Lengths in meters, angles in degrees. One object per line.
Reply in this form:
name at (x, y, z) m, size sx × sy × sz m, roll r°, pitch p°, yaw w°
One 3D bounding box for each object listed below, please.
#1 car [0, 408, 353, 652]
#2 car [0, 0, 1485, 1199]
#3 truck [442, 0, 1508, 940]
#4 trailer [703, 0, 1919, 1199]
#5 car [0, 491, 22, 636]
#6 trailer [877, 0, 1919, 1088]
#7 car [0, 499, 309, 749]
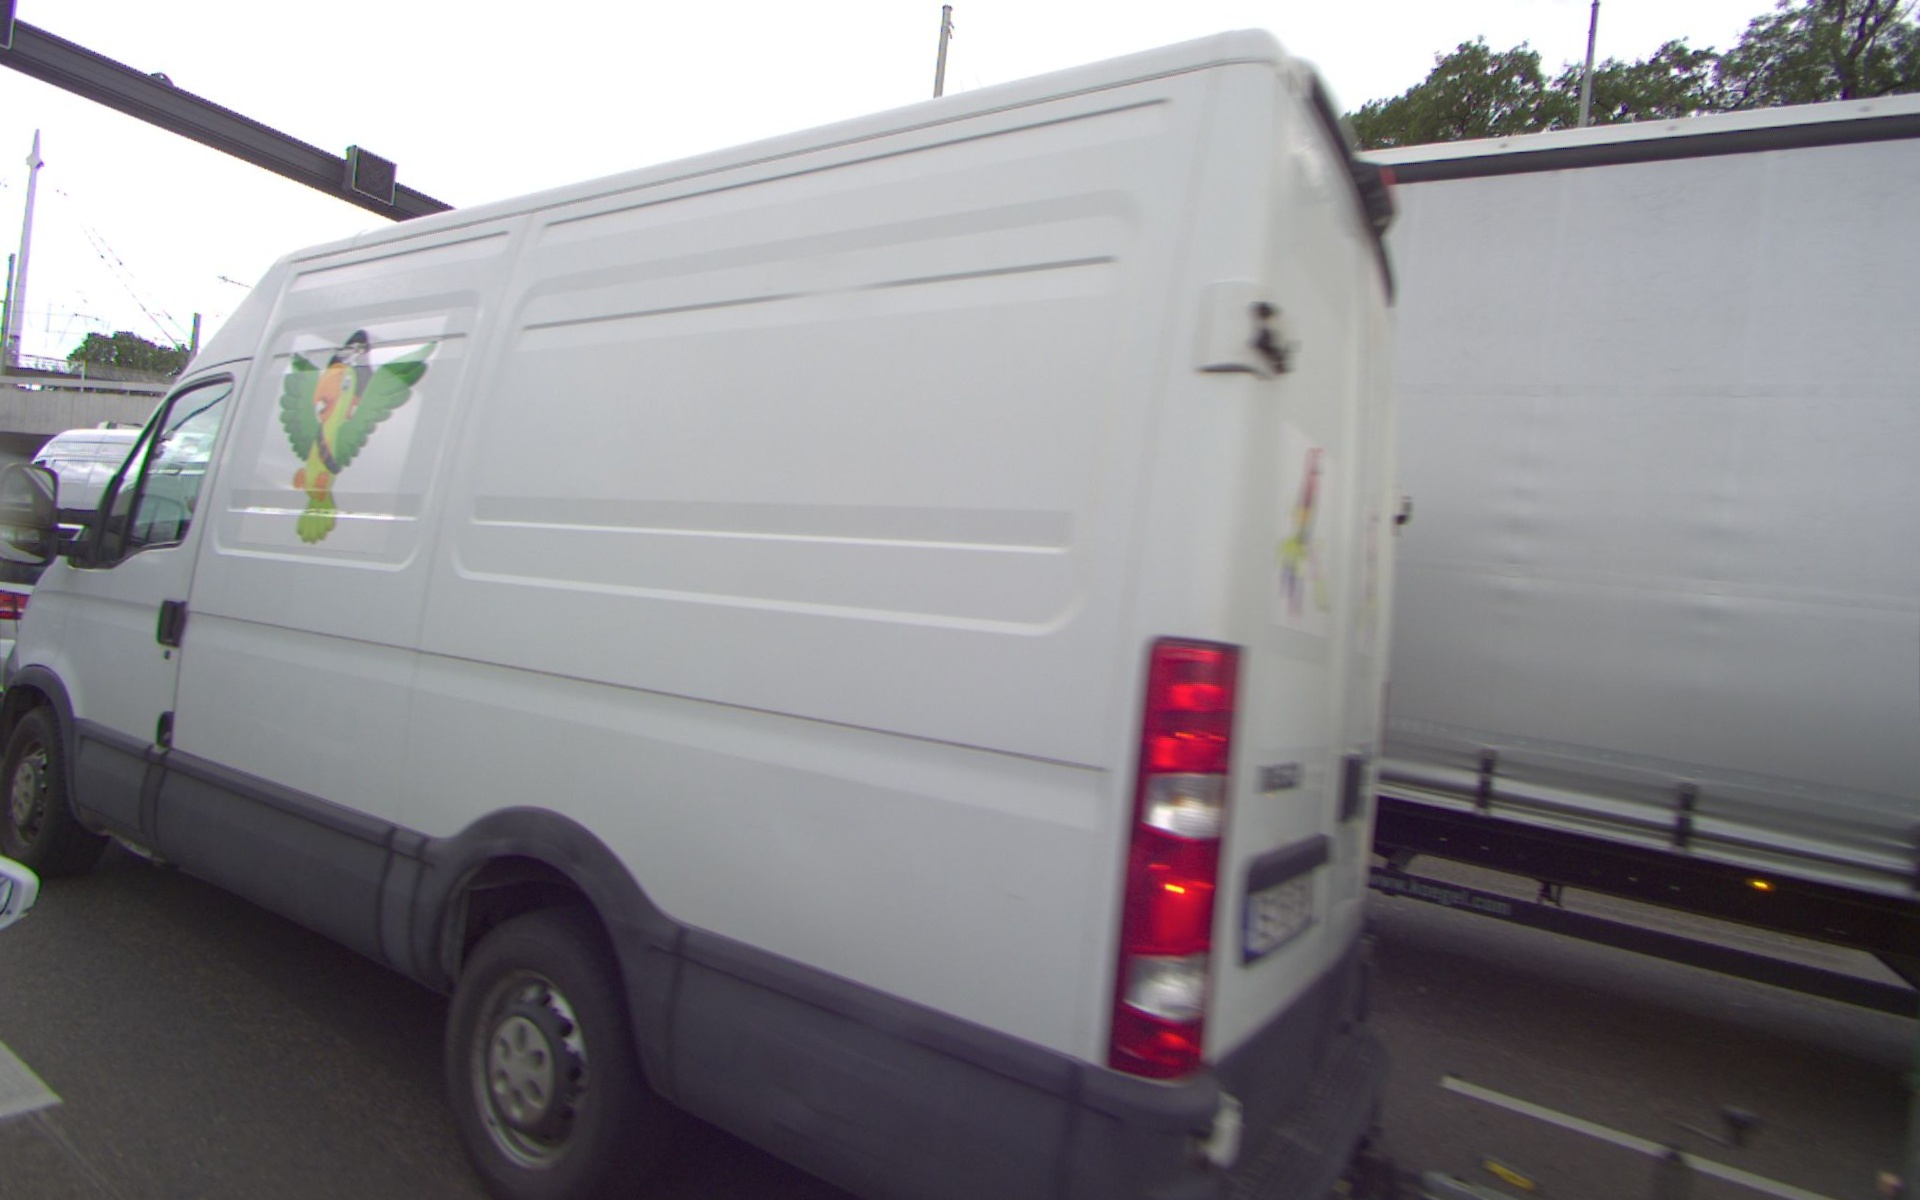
car at (-11.997, -1.135, 14.650) m, size 7.203 × 2.807 × 2.078 m, roll 7°, pitch 0°, yaw 31°
car at (-1.476, -0.139, 3.859) m, size 5.845 × 2.655 × 2.064 m, roll 6°, pitch -4°, yaw 33°
truck at (-0.007, -0.904, 8.224) m, size 7.318 × 4.685 × 3.813 m, roll 7°, pitch -2°, yaw 31°
trailer at (2.153, 0.395, 1.618) m, size 4.731 × 2.670 × 2.106 m, roll 6°, pitch -1°, yaw 32°
car at (-12.297, -0.662, 11.075) m, size 3.629 × 1.562 × 1.687 m, roll 7°, pitch -2°, yaw 28°
trailer at (5.798, -0.245, 4.617) m, size 11.912 × 4.685 × 3.813 m, roll 7°, pitch -2°, yaw 31°
car at (-6.703, 0.032, 7.254) m, size 3.972 × 1.400 × 1.766 m, roll 6°, pitch -1°, yaw 32°
